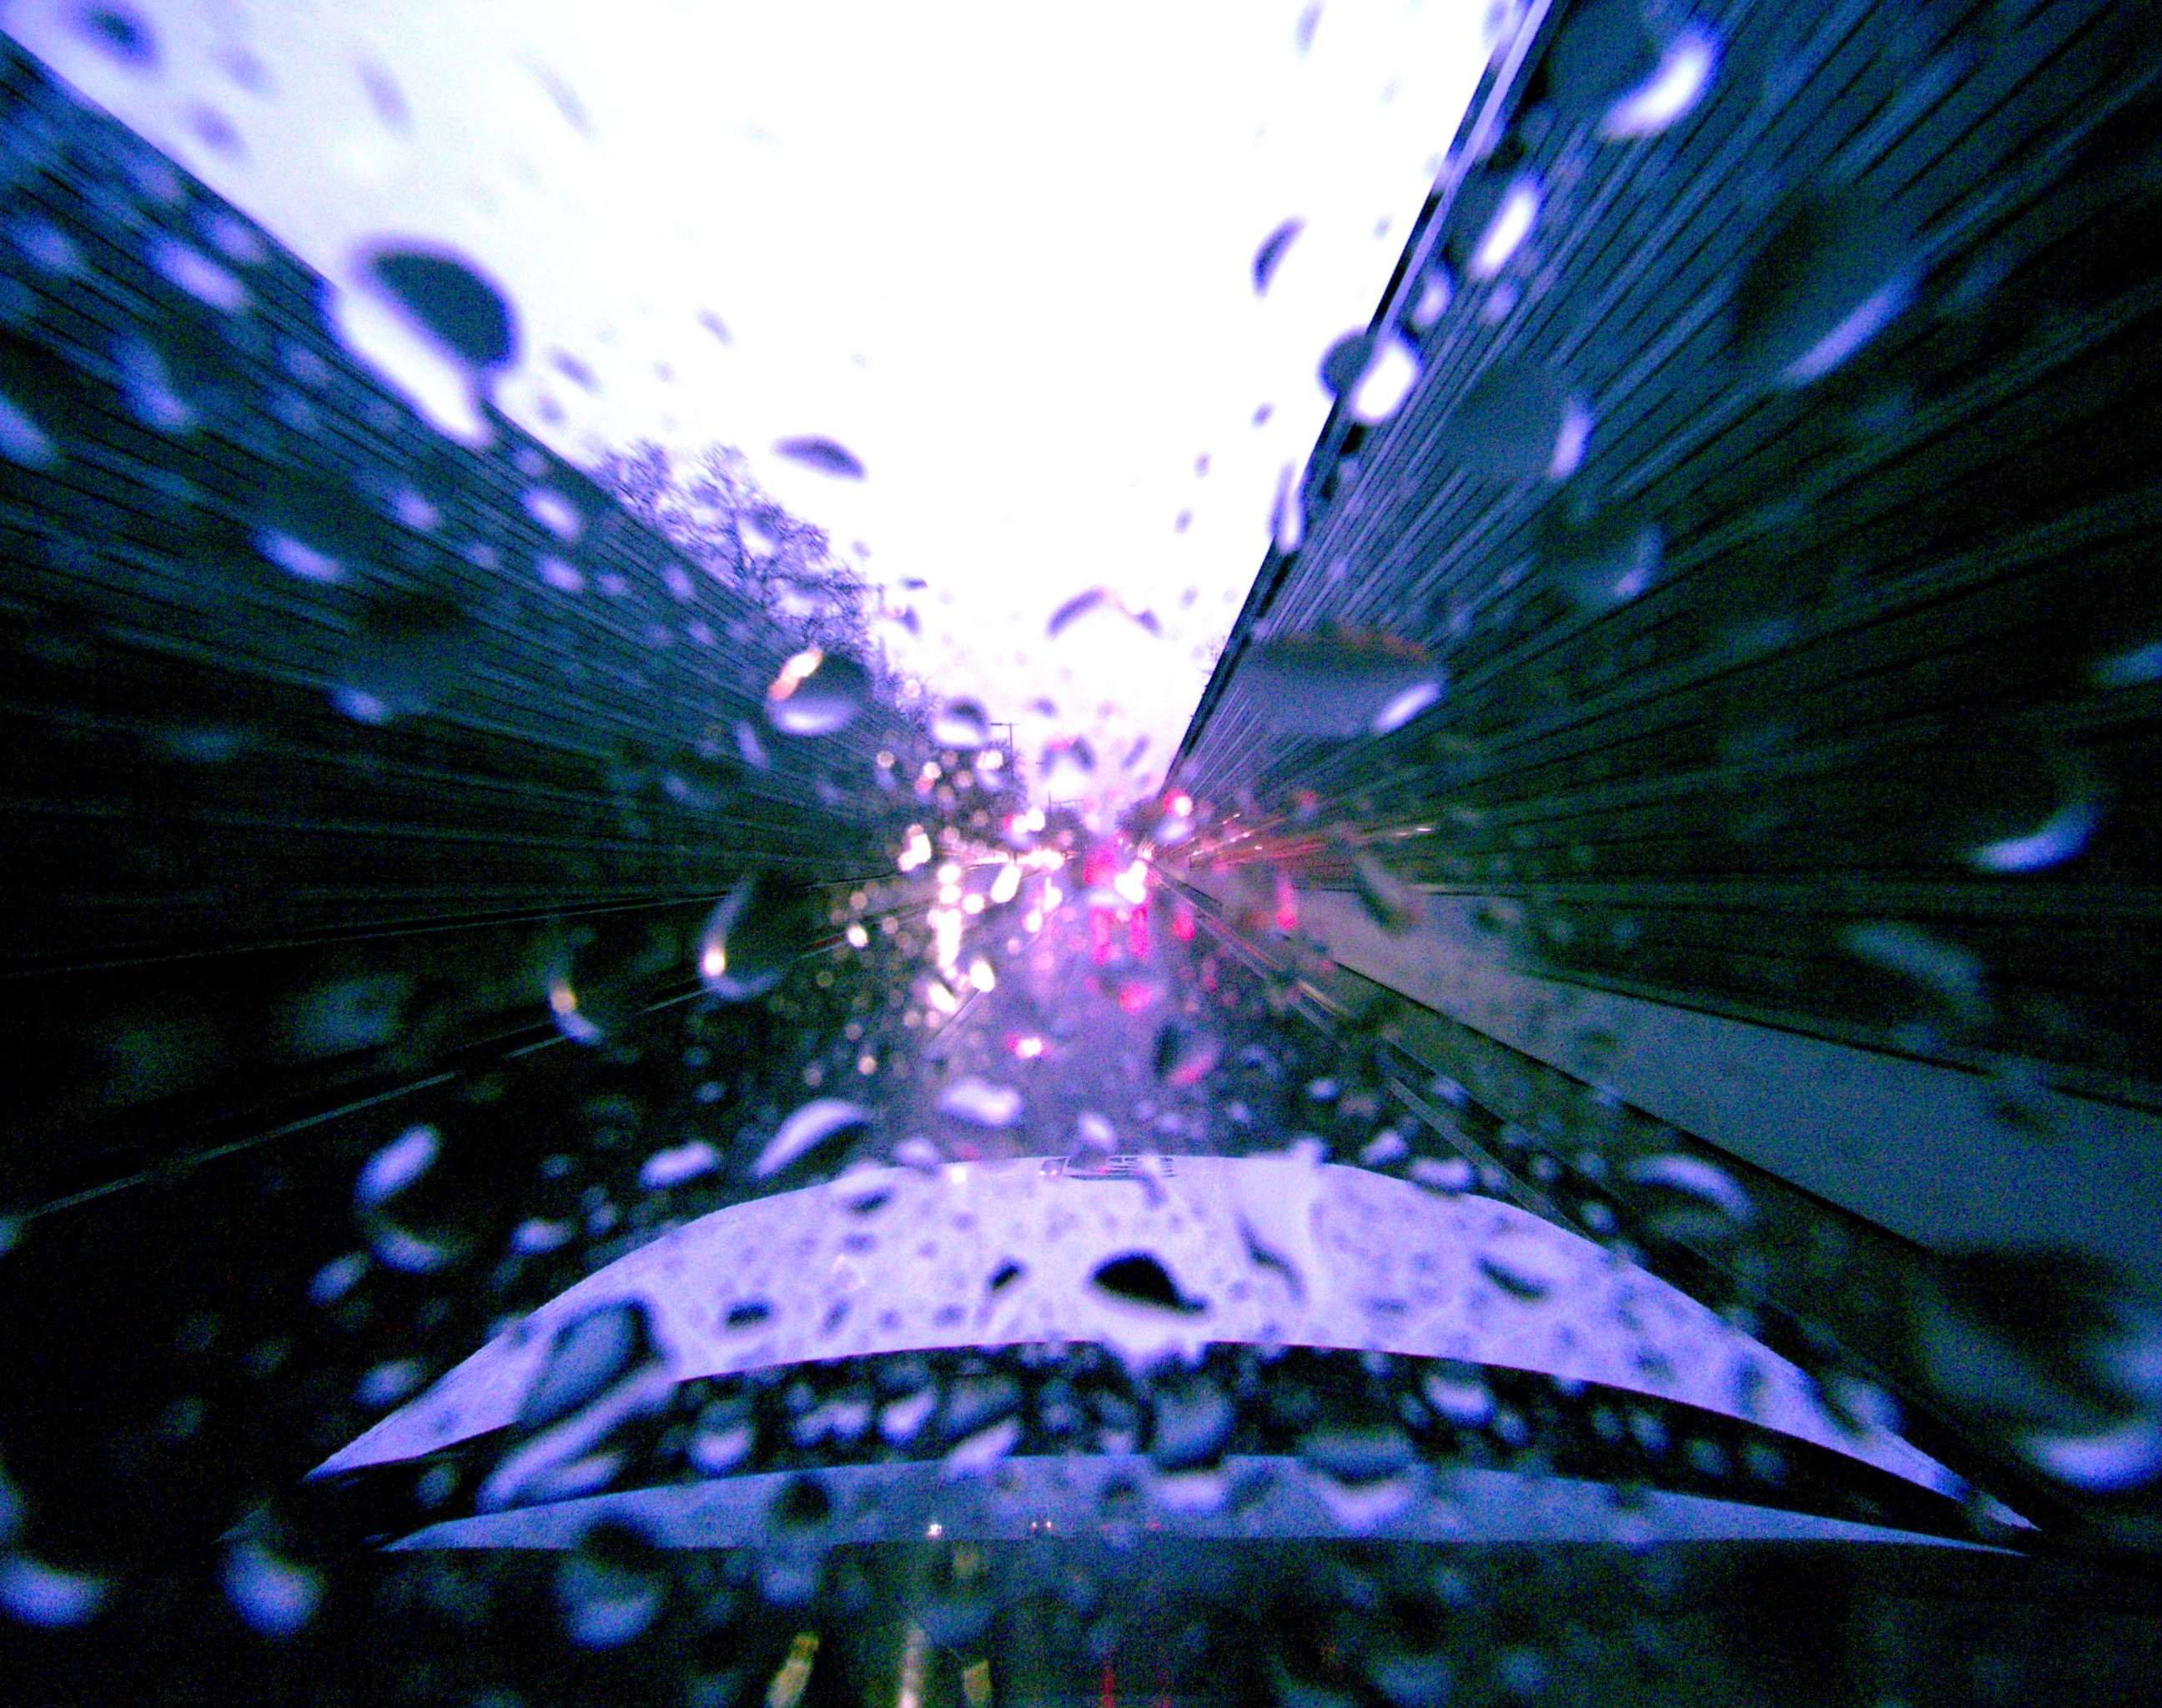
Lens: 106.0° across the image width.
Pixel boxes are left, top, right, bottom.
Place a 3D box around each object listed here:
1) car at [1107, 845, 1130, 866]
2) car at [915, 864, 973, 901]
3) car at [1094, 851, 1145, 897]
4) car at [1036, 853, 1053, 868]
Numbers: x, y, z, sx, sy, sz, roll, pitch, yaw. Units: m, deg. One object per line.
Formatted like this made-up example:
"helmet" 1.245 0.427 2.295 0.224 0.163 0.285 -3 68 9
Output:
"car" 3.339 0.153 72.753 1.874 1.621 3.999 -1 -2 0
"car" -6.434 1.357 38.652 1.873 1.621 4.002 -1 -2 3
"car" 1.282 0.652 27.043 1.526 1.397 3.436 -2 -1 2
"car" -4.065 0.685 91.800 1.565 1.470 3.689 -3 1 2
